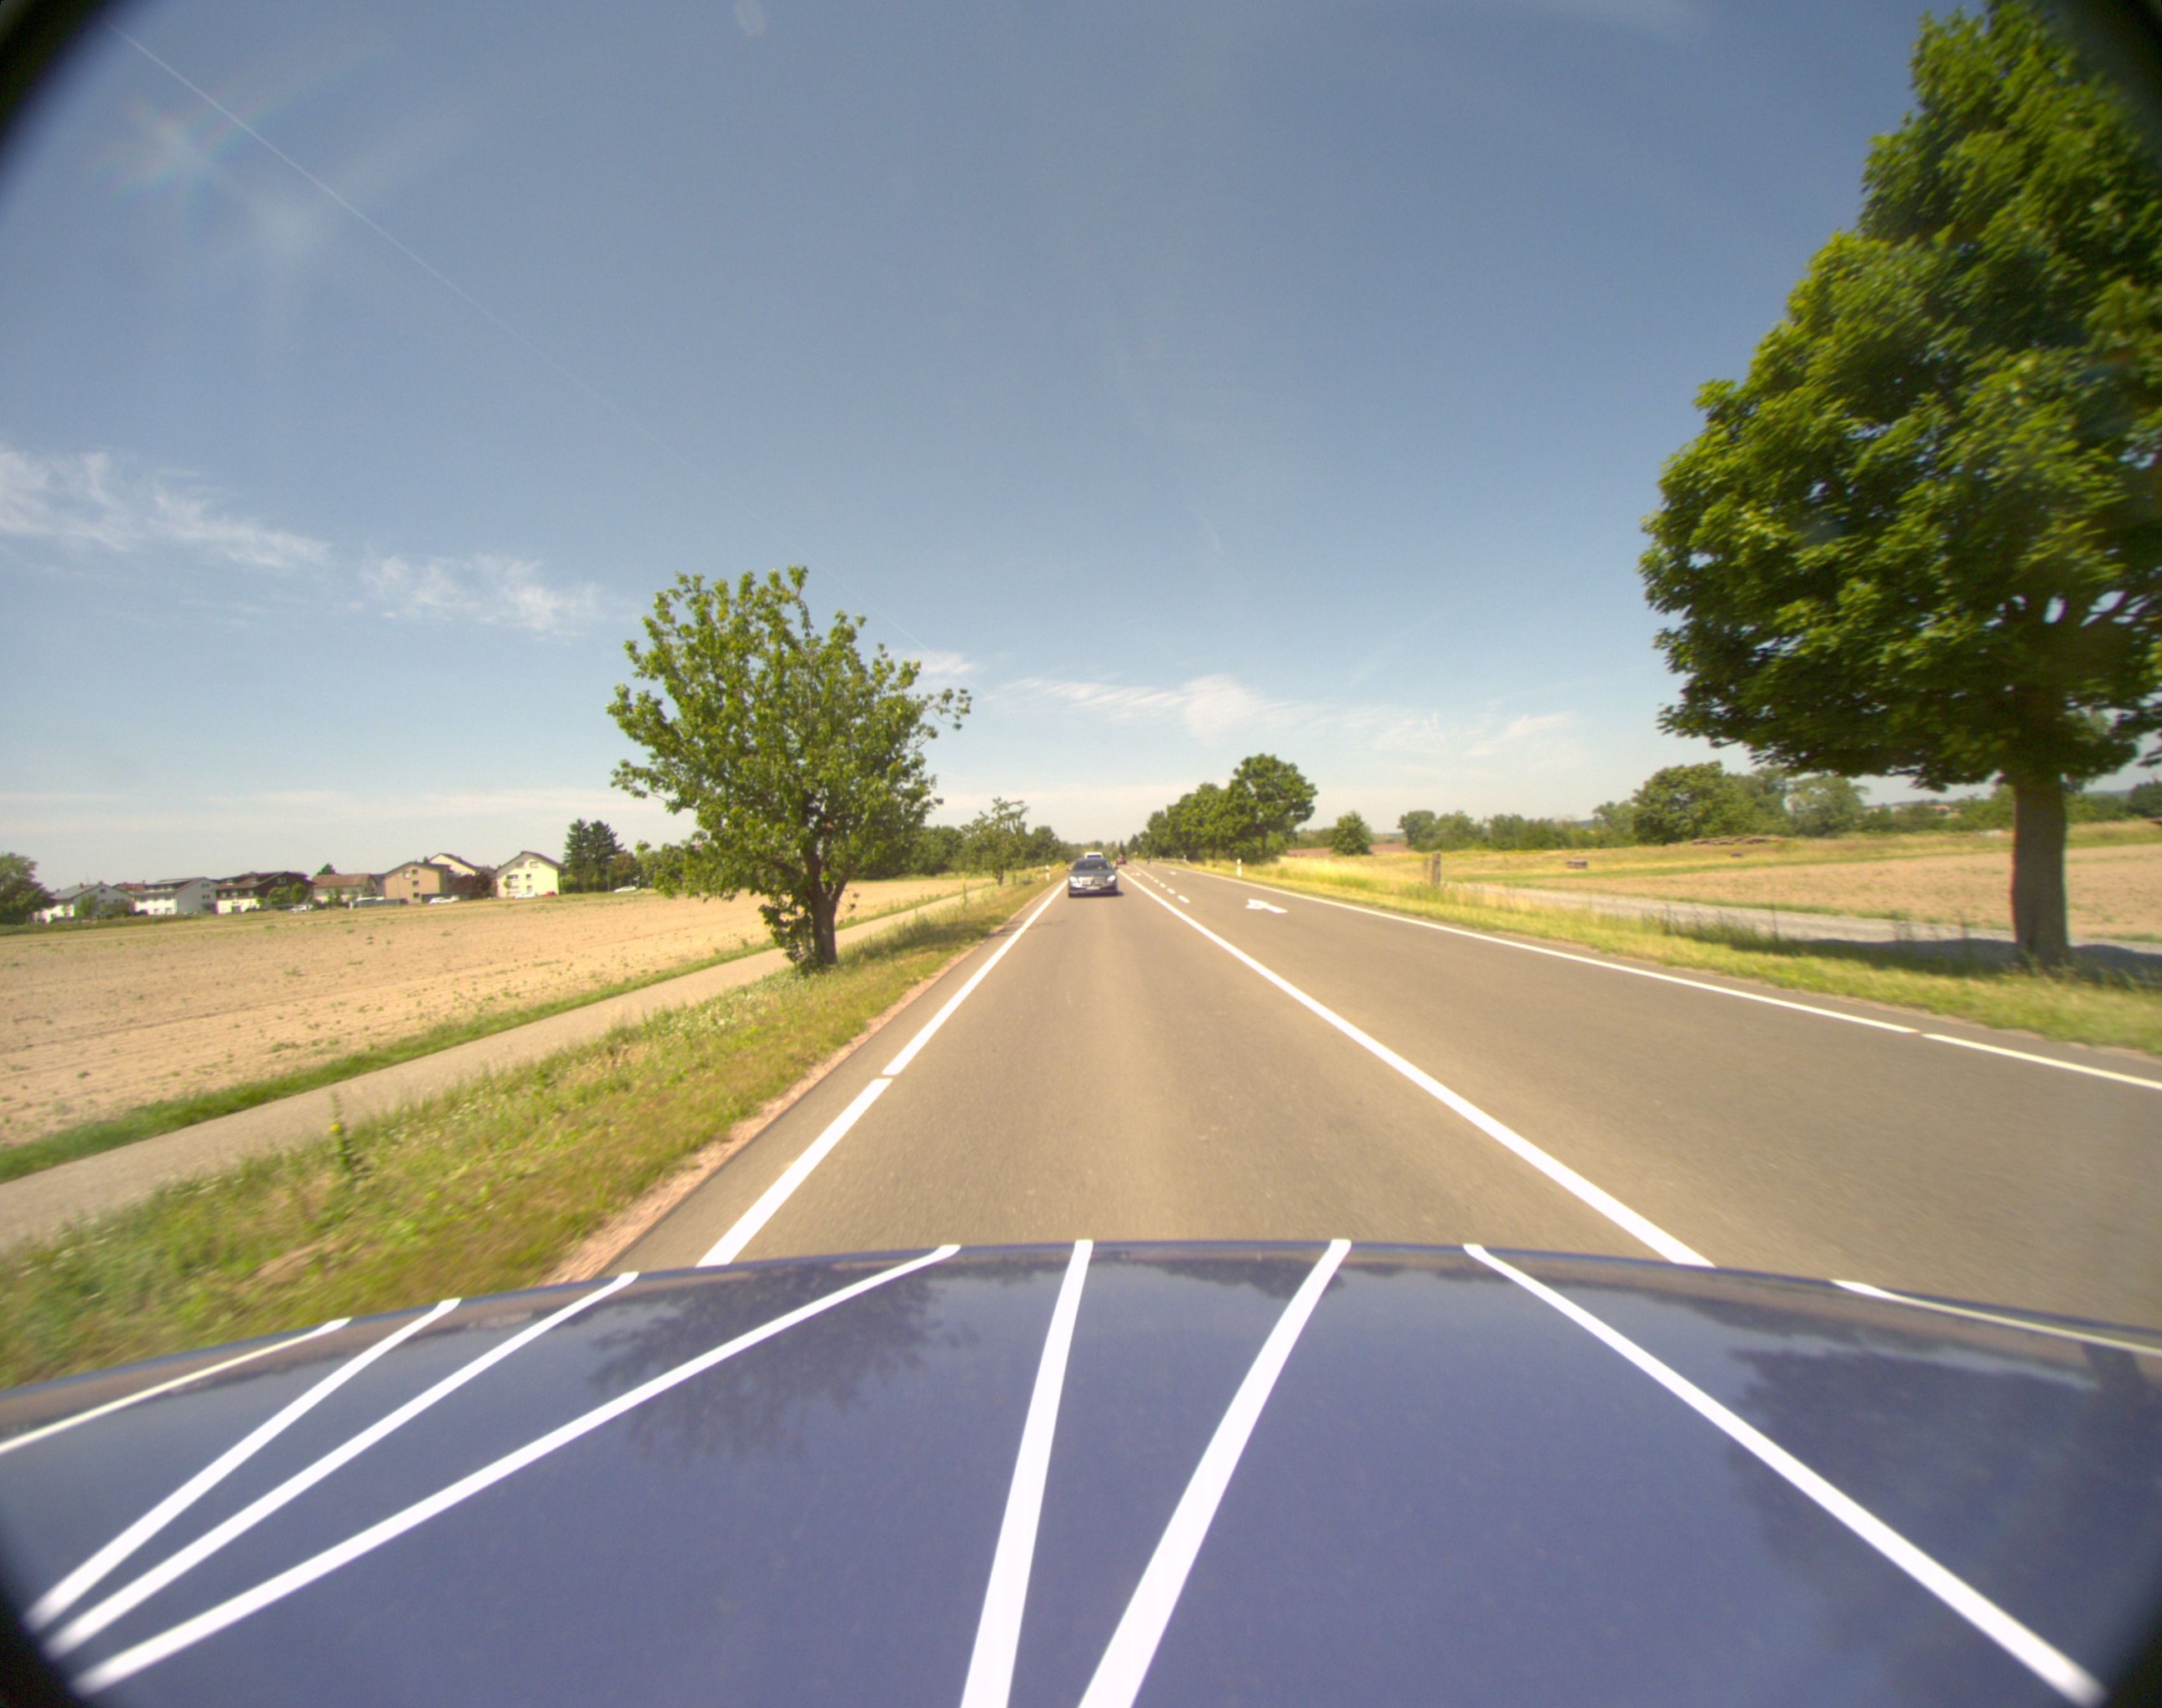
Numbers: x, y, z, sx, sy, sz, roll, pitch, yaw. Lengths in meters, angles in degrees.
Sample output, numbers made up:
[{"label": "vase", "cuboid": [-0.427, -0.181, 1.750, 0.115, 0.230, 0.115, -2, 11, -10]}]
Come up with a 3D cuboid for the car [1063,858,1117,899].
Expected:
[{"label": "car", "cuboid": [0.385, 0.909, 29.638, 1.953, 1.390, 4.000, -1, 0, 2]}]

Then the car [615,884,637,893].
[{"label": "car", "cuboid": [-105.584, 8.060, 176.284, 4.378, 1.732, 1.764, -3, 1, -31]}]

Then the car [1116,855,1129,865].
[{"label": "car", "cuboid": [7.105, 0.962, 129.893, 1.998, 1.543, 4.317, -3, 0, 3]}]

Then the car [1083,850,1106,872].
[{"label": "car", "cuboid": [1.244, 0.677, 72.020, 1.998, 1.907, 4.206, -3, 0, 1]}]

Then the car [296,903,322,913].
[{"label": "car", "cuboid": [-166.505, 11.611, 163.891, 3.485, 1.779, 1.477, -3, 1, -28]}]
